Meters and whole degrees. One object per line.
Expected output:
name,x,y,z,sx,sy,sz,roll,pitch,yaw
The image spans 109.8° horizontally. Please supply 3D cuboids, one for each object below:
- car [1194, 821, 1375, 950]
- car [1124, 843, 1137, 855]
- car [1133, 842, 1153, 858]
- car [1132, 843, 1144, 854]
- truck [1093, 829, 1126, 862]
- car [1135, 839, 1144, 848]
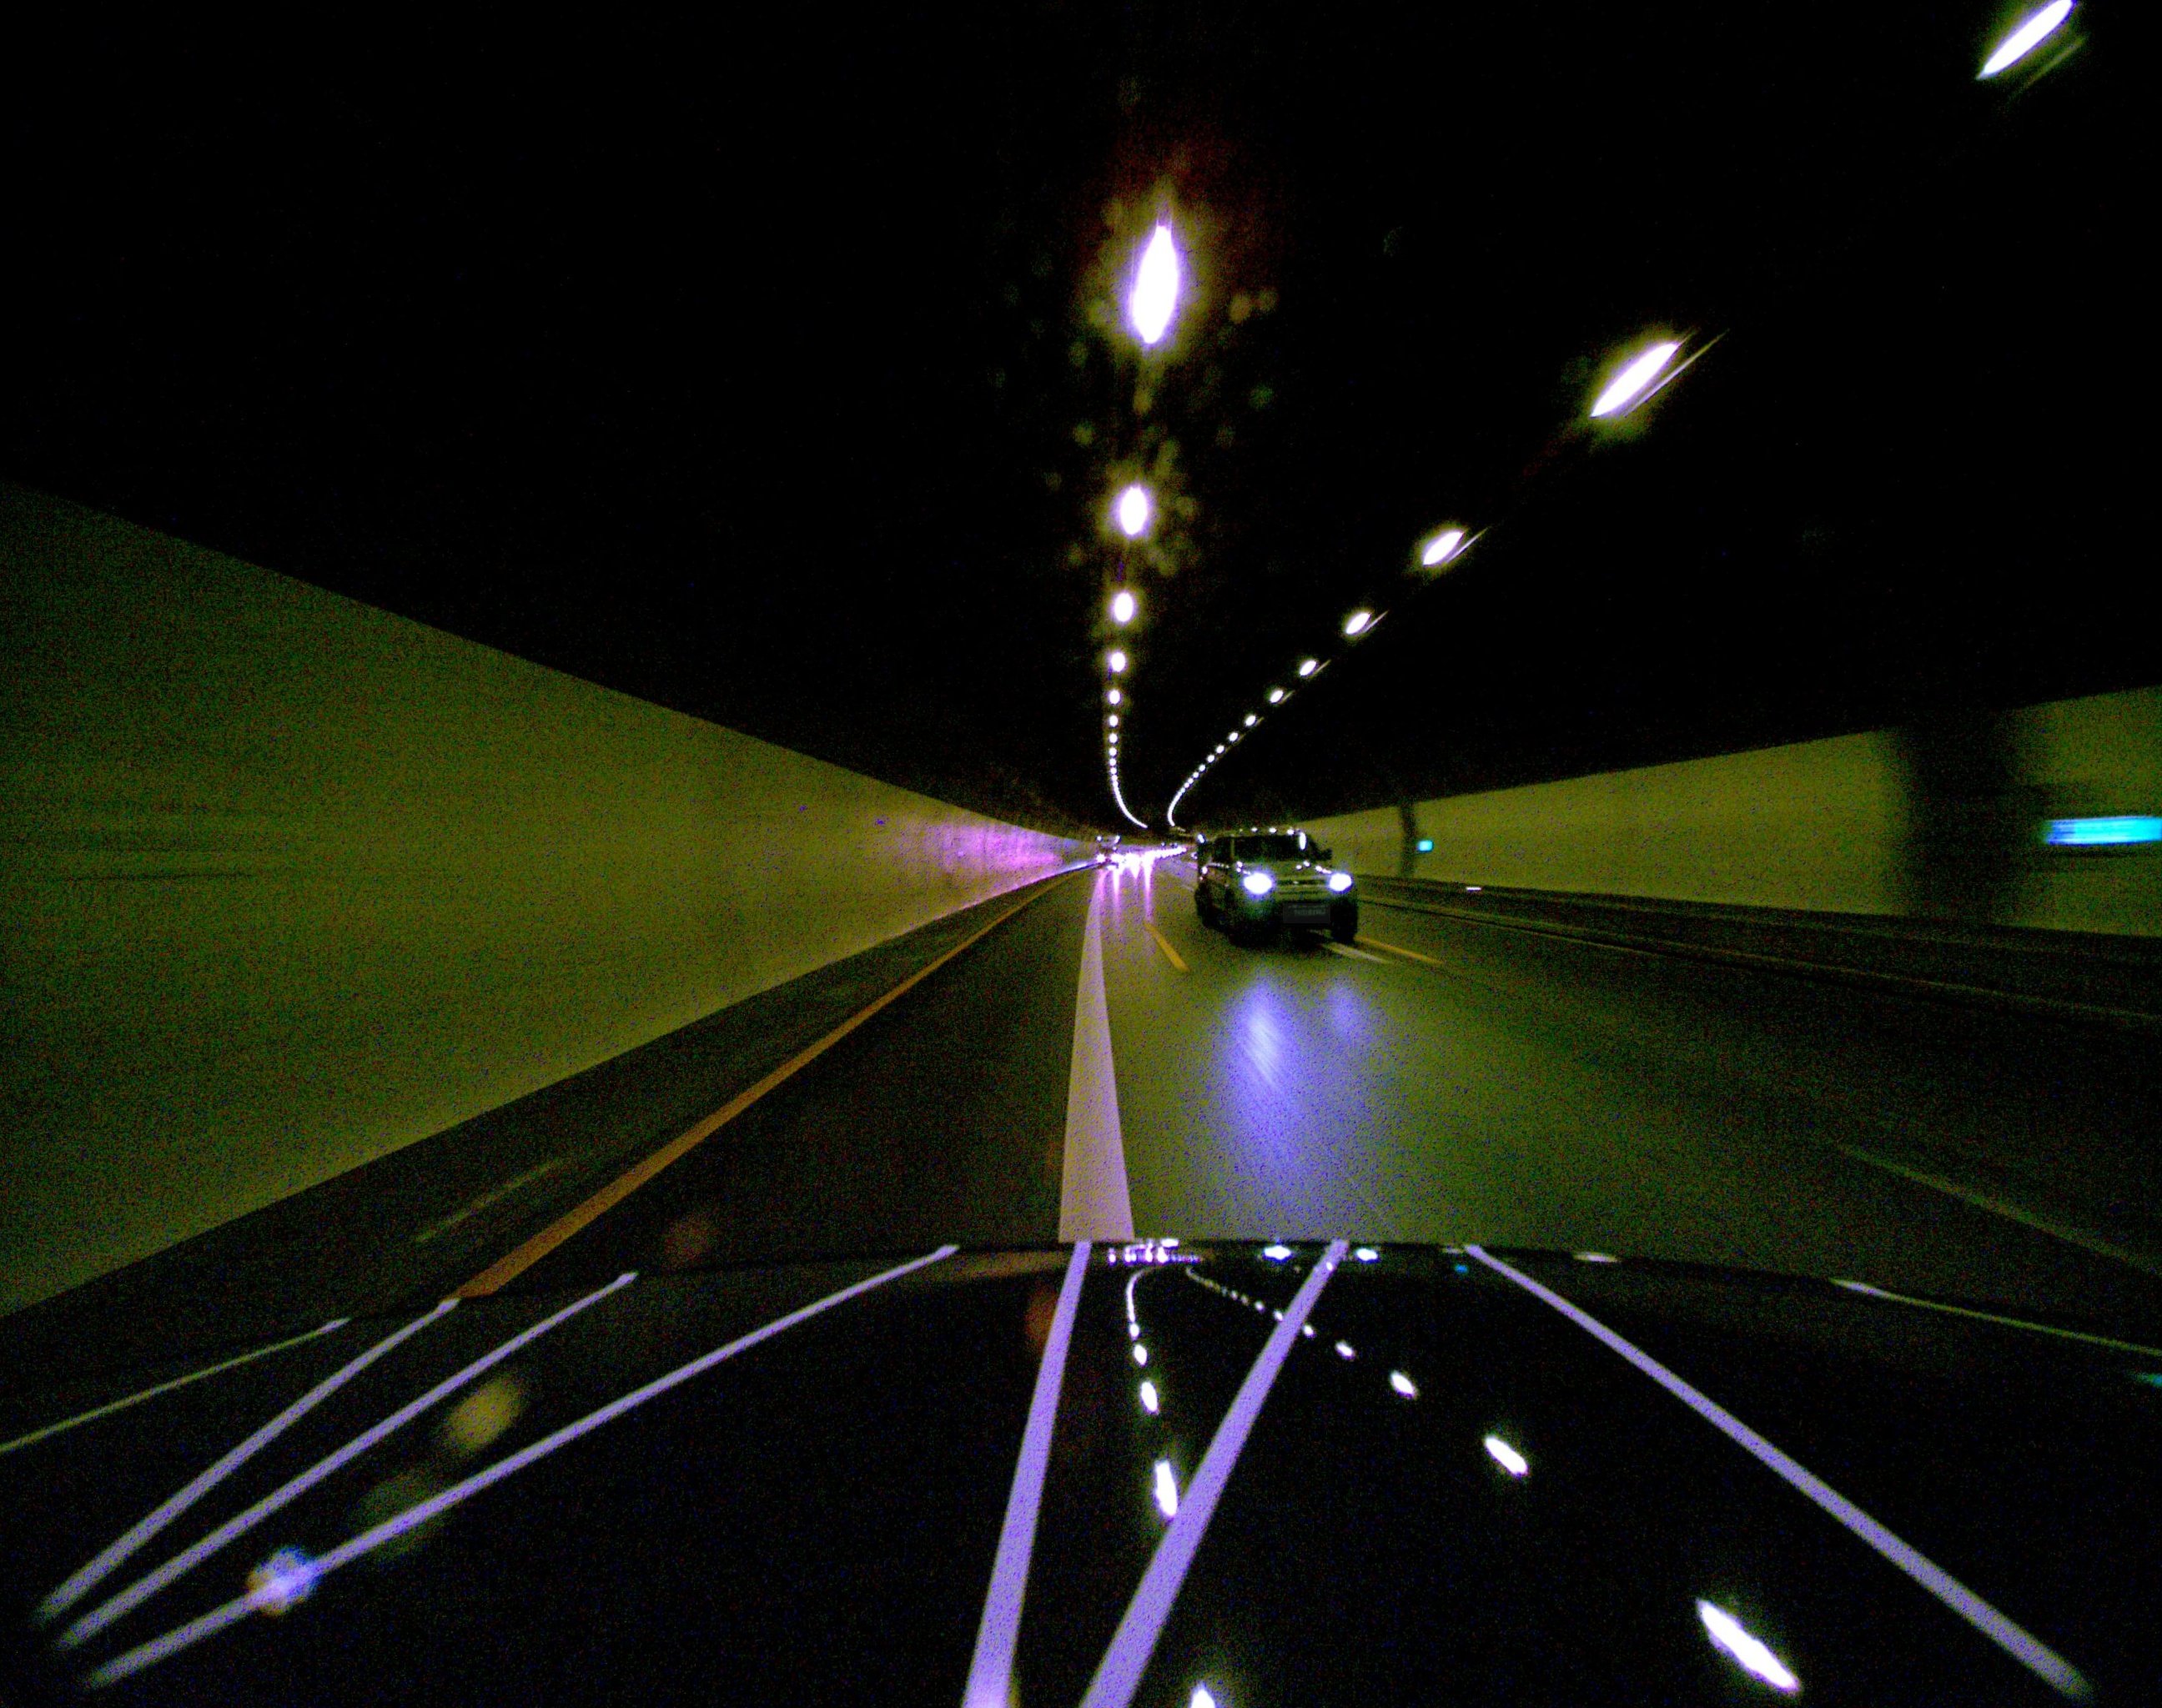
car,3.441,0.443,14.077,1.998,1.884,5.453,-1,1,2
car,8.414,-0.872,128.689,1.998,2.002,4.000,-2,1,4
car,7.304,-0.478,88.954,2.170,1.709,4.483,-2,1,6
car,11.709,-1.153,155.540,1.997,2.002,4.002,-2,1,8
truck,3.130,-0.880,79.990,2.988,3.161,10.510,-2,1,4
car,13.608,-2.360,175.975,1.998,1.917,4.385,-2,1,4
